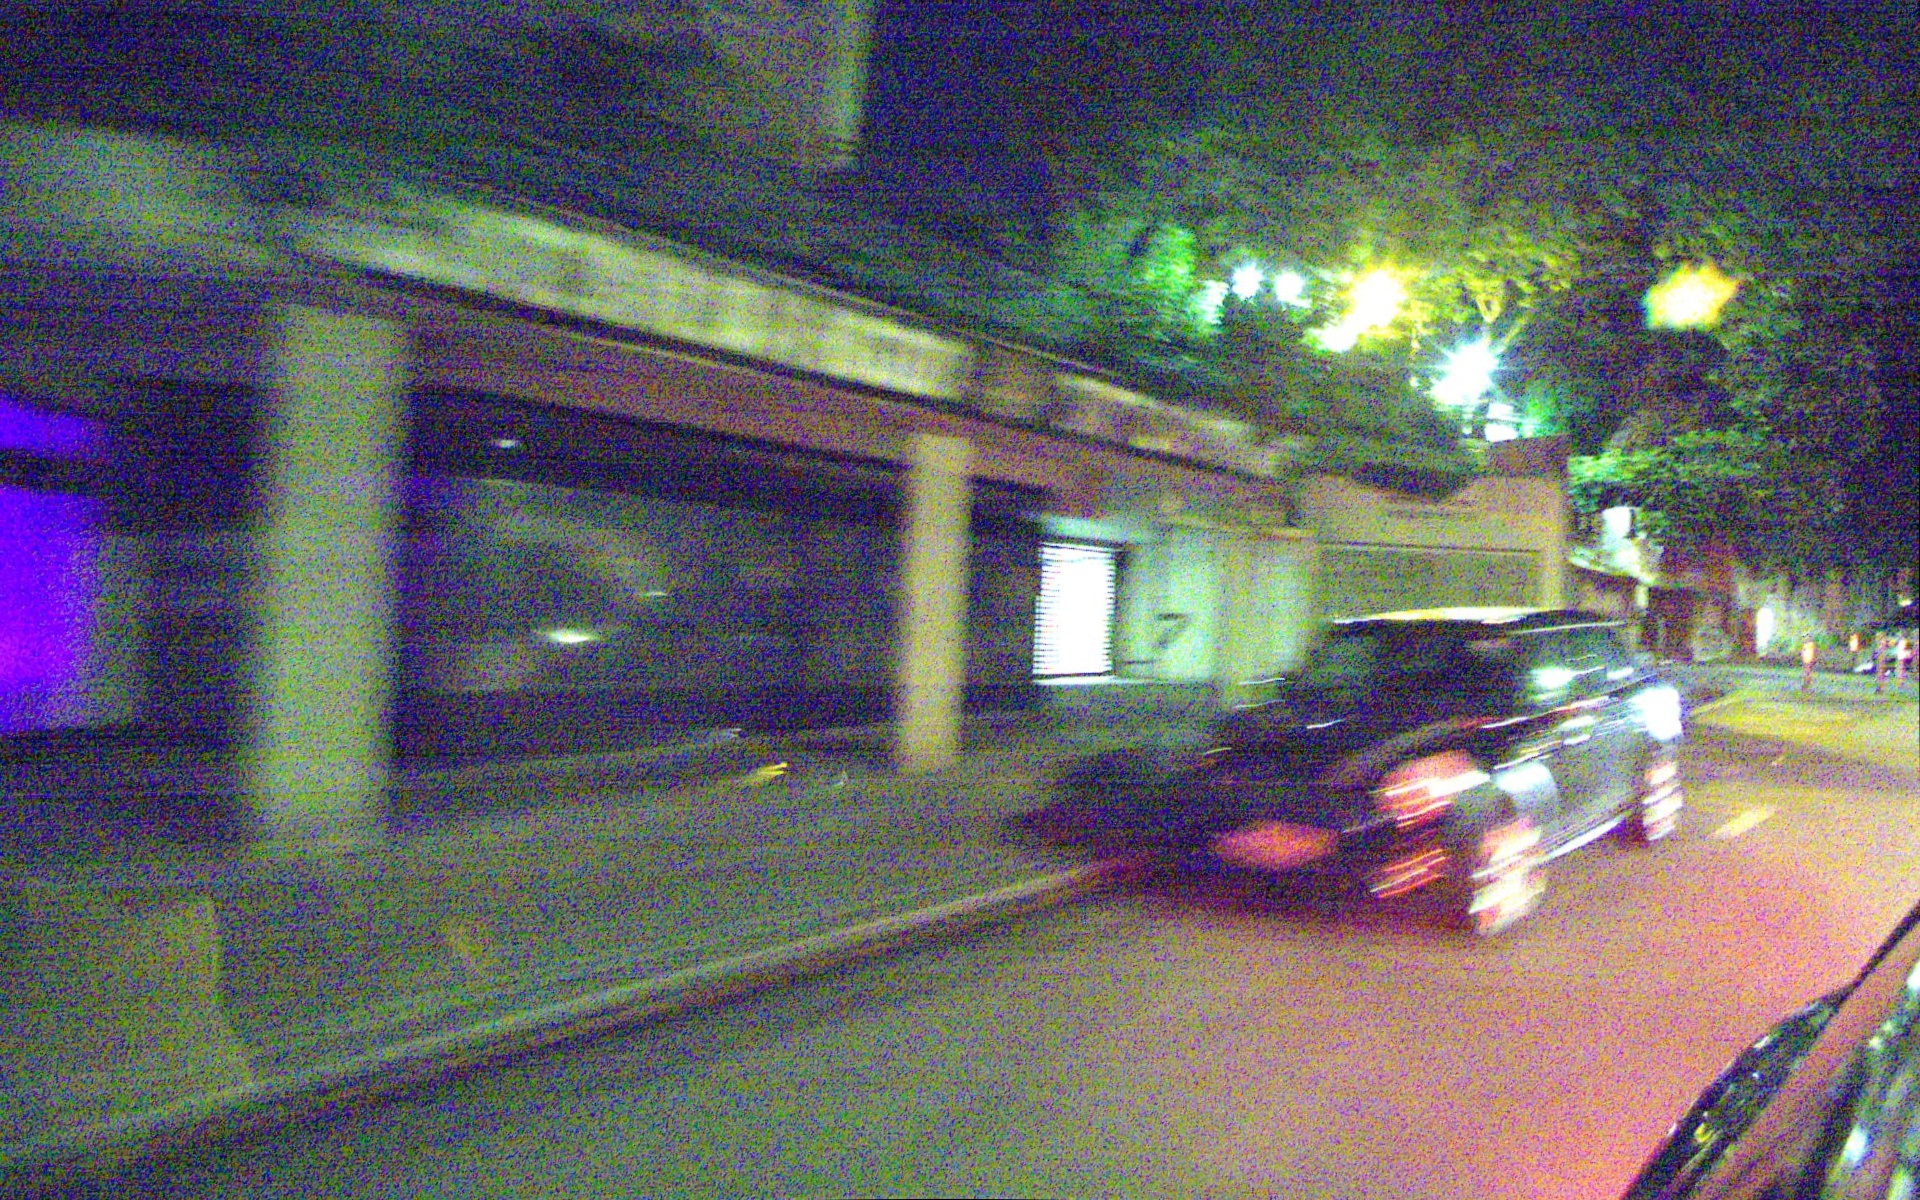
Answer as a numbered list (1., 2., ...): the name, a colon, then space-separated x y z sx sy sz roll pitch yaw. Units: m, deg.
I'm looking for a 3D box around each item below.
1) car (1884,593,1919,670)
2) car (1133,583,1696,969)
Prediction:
1. car: 19.885 0.598 20.264 3.650 1.474 1.700 0 0 -42
2. car: 2.706 0.682 5.699 3.457 1.492 1.654 0 0 -42
